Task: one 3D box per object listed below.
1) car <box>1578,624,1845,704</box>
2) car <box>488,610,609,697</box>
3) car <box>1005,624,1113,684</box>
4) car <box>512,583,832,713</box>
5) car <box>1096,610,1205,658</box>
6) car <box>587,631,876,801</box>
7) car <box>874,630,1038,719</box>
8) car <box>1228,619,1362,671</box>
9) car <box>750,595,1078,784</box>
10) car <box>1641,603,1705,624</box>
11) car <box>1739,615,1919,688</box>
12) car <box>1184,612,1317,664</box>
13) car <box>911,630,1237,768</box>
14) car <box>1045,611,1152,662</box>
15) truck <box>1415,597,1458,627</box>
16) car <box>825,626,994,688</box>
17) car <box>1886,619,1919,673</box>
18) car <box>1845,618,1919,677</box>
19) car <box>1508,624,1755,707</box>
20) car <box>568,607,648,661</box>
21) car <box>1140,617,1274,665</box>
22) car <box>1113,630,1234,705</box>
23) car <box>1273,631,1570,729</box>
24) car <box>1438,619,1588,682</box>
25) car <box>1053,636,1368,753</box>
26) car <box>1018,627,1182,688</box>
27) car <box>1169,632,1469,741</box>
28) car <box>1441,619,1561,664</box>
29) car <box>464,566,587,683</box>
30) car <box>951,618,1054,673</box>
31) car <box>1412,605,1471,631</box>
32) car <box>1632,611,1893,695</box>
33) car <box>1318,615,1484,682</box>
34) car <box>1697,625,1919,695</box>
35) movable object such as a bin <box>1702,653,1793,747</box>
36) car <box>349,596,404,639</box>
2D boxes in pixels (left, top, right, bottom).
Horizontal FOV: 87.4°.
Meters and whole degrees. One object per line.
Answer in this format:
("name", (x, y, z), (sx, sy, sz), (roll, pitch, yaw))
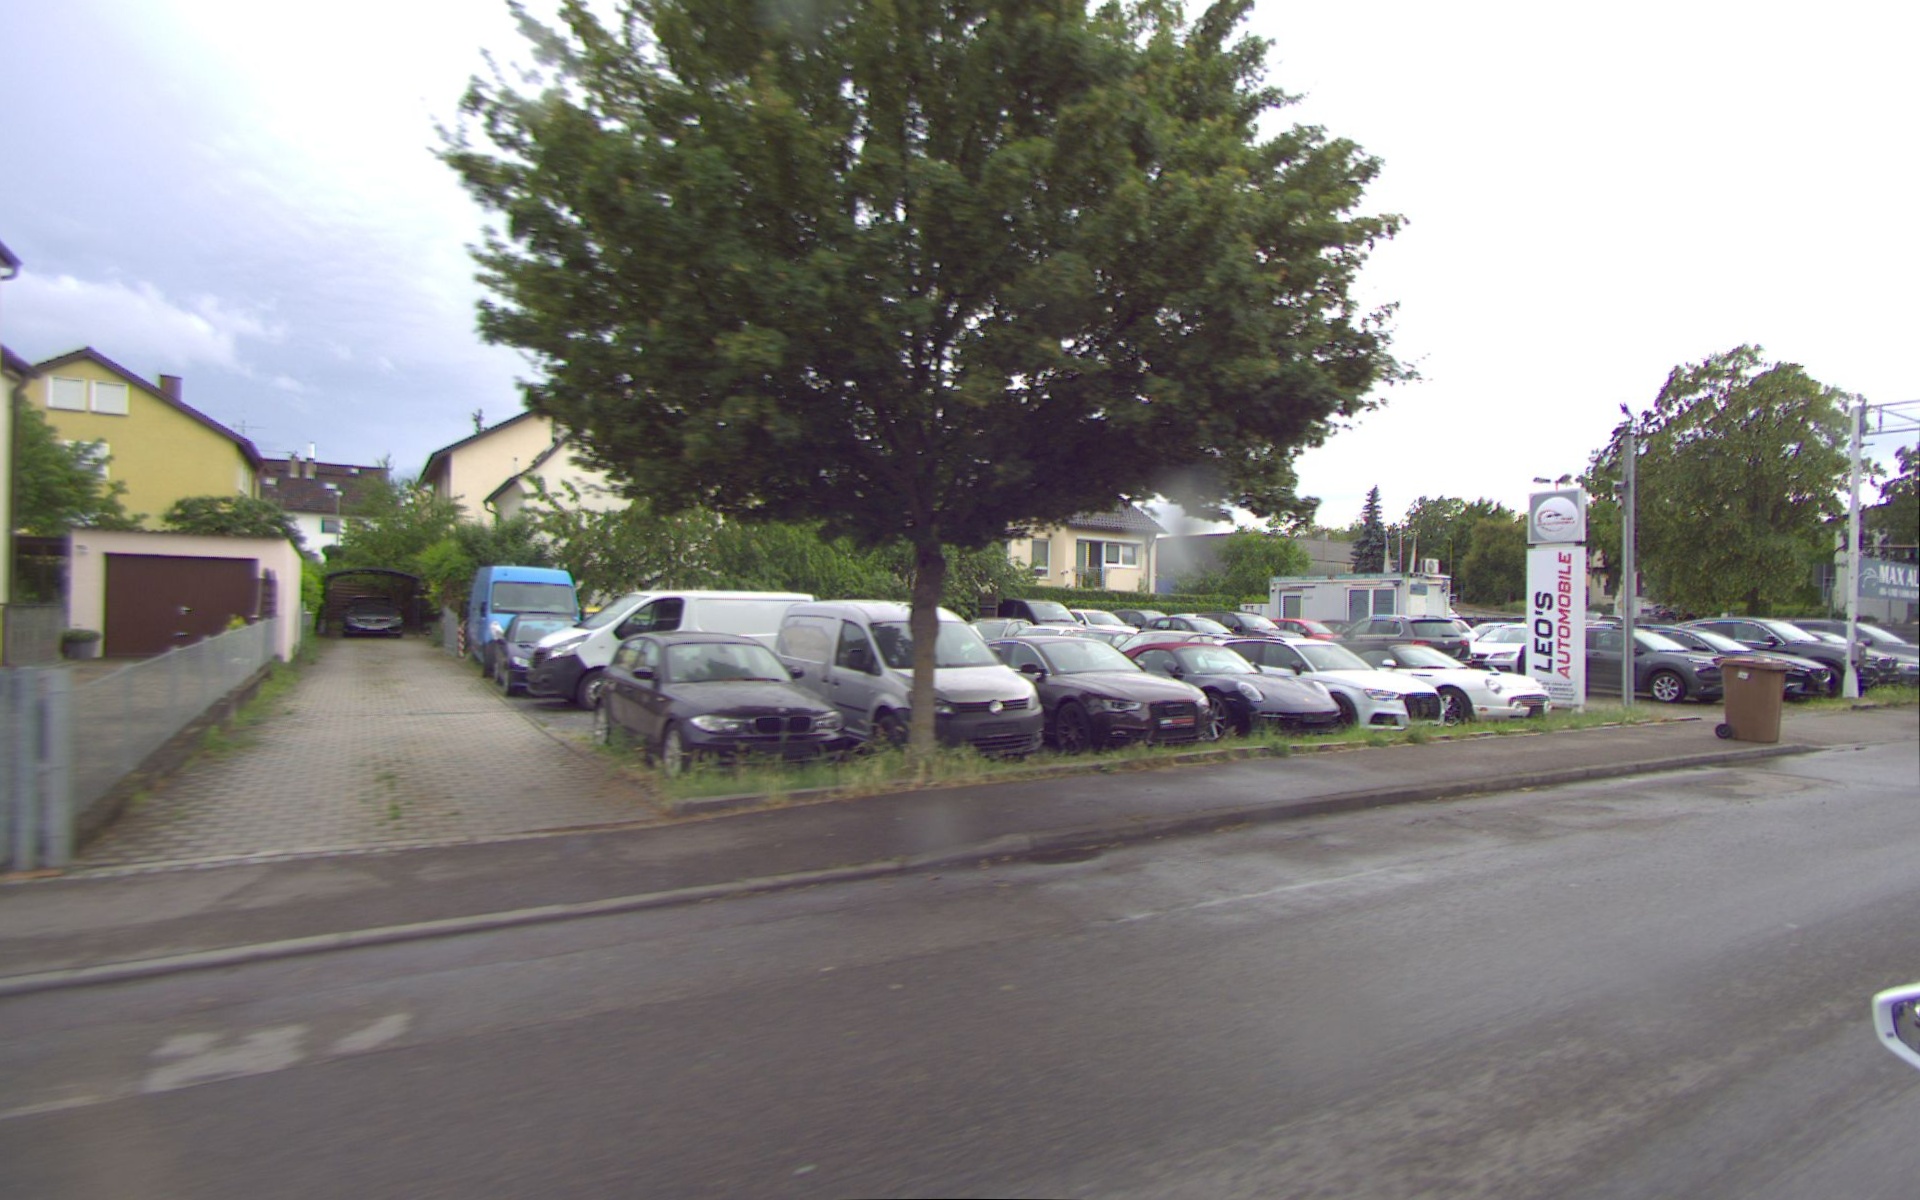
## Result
("car", (16.363, 1.328, 22.122), (1.918, 1.483, 4.329), (1, 0, -29))
("car", (-7.974, 0.947, 19.286), (1.653, 1.439, 3.721), (1, 0, -30))
("car", (2.622, 1.363, 26.116), (1.316, 1.434, 3.221), (0, -1, 37))
("car", (-4.908, 0.785, 17.429), (4.999, 1.956, 1.982), (1, -1, -33))
("car", (6.692, 1.160, 35.575), (1.767, 1.578, 3.715), (1, -1, -31))
("car", (-2.597, 1.058, 10.716), (1.743, 1.390, 3.887), (1, -1, -34))
("car", (0.004, 1.284, 18.277), (1.316, 1.434, 3.221), (0, -1, 37))
("car", (10.949, 1.424, 33.032), (1.817, 1.550, 3.966), (1, -1, -32))
("car", (-0.768, 0.890, 12.071), (1.878, 1.814, 4.530), (1, -1, -34))
("car", (60.742, 1.140, 85.662), (3.919, 1.747, 2.001), (1, 1, 7))
("car", (23.005, 1.270, 25.807), (1.935, 1.713, 4.329), (1, 0, -29))
("car", (8.937, 1.130, 31.148), (1.769, 1.457, 3.712), (1, -1, -33))
("car", (1.307, 1.155, 13.436), (1.878, 1.437, 4.530), (1, -1, -34))
("car", (4.629, 1.186, 34.014), (1.765, 1.592, 3.719), (1, -1, -28))
("truck", (44.061, 1.051, 93.005), (1.959, 2.573, 5.561), (1, 1, 7))
("car", (-1.105, 1.234, 22.696), (3.499, 1.252, 1.647), (1, -1, -36))
("car", (29.515, 1.383, 28.827), (1.780, 1.564, 3.972), (1, 1, -27))
("car", (26.997, 1.326, 27.348), (1.780, 1.564, 3.972), (1, 1, -27))
("car", (14.024, 1.294, 21.212), (1.817, 1.483, 3.970), (1, 0, -29))
("car", (-9.363, 0.864, 26.605), (1.323, 1.350, 3.205), (1, -1, -32))
("car", (7.234, 1.167, 29.782), (1.973, 1.289, 3.723), (1, -1, -25))
("car", (4.599, 1.366, 21.391), (1.316, 1.434, 3.221), (0, -1, 37))
("car", (7.635, 1.252, 17.093), (1.750, 1.349, 4.430), (1, -1, -30))
("car", (14.585, 1.281, 26.445), (3.953, 1.550, 1.683), (1, -1, -30))
("car", (3.434, 1.242, 14.701), (1.867, 1.327, 4.536), (1, -1, -30))
("car", (3.306, 1.270, 23.251), (3.970, 1.274, 1.601), (1, -1, -42))
("car", (5.496, 1.242, 15.964), (1.867, 1.392, 4.356), (1, -1, -30))
("car", (17.863, 1.352, 33.125), (3.953, 1.417, 1.683), (1, -1, -30))
("car", (-10.340, 0.500, 23.642), (2.023, 2.406, 5.643), (1, 0, -30))
("car", (1.244, 1.244, 28.154), (1.316, 1.434, 3.221), (0, -1, 37))
("car", (39.174, 1.431, 81.749), (1.973, 2.021, 3.975), (0, 1, -25))
("car", (18.476, 1.135, 23.350), (2.033, 1.714, 4.329), (1, 0, -29))
("car", (10.916, 1.157, 25.203), (1.903, 1.519, 3.992), (1, -1, -11))
("car", (20.944, 1.380, 24.568), (1.935, 1.451, 4.329), (1, 0, -29))
("movable object such as a bin", (10.335, 1.293, 13.190), (0.726, 1.145, 0.704), (1, 0, -30))
("car", (-20.851, 0.602, 35.931), (1.610, 1.439, 3.600), (1, 0, -30))
